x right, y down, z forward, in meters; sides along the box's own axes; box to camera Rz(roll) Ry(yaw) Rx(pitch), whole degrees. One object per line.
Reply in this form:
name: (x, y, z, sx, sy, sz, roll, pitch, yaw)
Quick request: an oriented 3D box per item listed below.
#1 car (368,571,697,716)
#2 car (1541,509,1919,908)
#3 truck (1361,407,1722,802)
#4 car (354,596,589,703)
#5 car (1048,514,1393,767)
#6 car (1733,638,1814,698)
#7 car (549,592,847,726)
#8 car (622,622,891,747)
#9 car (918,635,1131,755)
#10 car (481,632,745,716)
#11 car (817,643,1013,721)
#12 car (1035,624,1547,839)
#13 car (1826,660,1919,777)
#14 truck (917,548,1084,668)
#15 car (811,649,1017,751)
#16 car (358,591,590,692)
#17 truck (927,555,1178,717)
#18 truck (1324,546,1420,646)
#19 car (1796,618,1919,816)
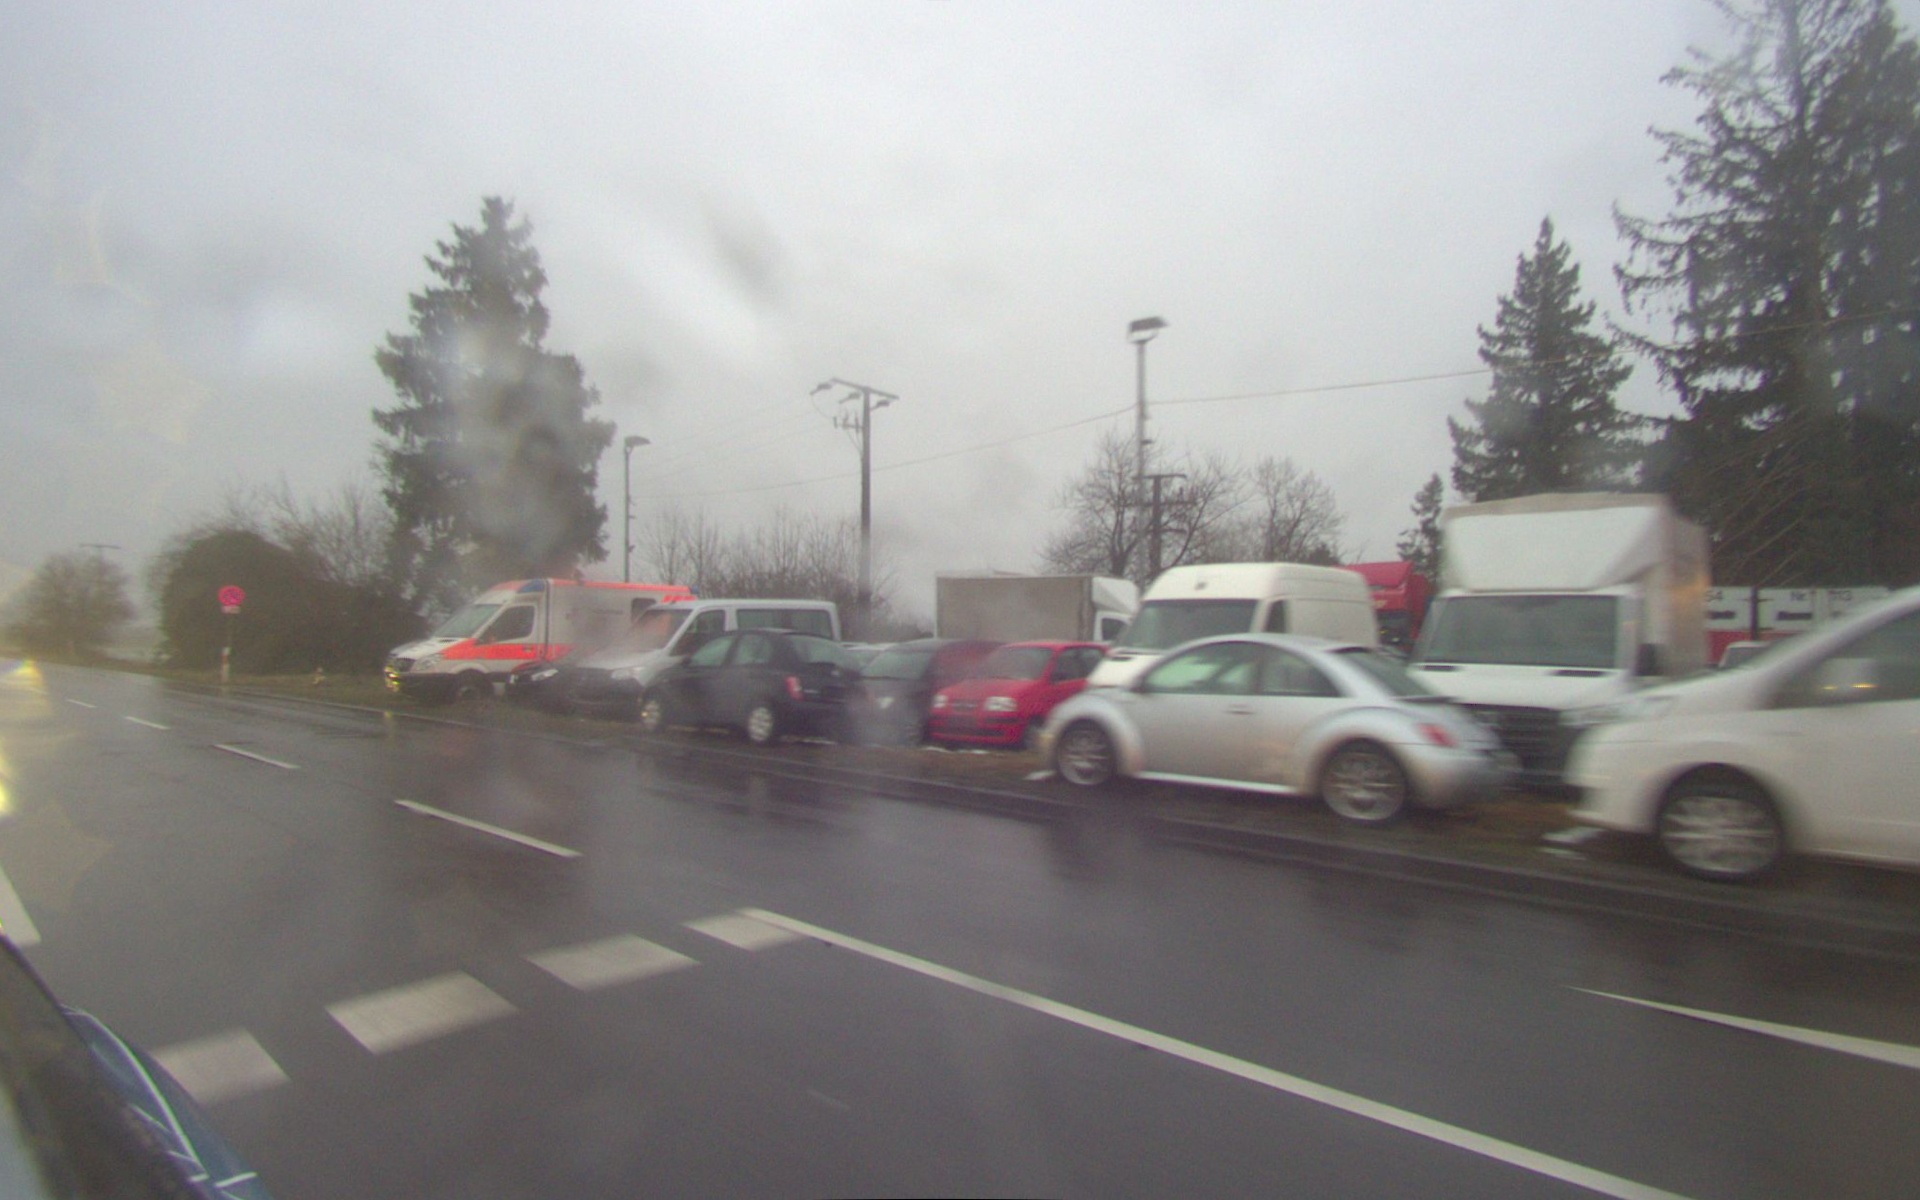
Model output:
car: (-8.869, 0.968, 21.614, 2.175, 2.652, 6.091, -2, -4, 41)
car: (5.888, 0.559, 5.440, 4.485, 2.029, 1.814, -1, -2, 44)
truck: (6.902, 0.132, 11.451, 2.332, 3.166, 6.788, -2, -3, 40)
car: (-11.560, 1.206, 24.219, 1.986, 2.290, 4.617, -2, -4, 41)
car: (3.779, 0.535, 13.659, 2.194, 2.659, 5.971, -2, -3, 39)
car: (18.333, 1.497, 22.862, 1.343, 1.227, 2.773, -1, -2, 38)
car: (-4.712, 1.110, 18.921, 2.058, 2.167, 5.091, -2, -4, 41)
car: (-2.791, 1.077, 13.478, 3.742, 1.431, 1.633, -4, -4, 43)
car: (1.001, 1.265, 14.448, 1.497, 1.503, 3.196, -2, -3, 38)
car: (-6.876, 1.467, 20.506, 1.954, 1.494, 4.698, -2, -4, 41)
car: (-0.813, 1.578, 20.264, 1.839, 1.394, 3.949, -3, -4, 37)
car: (2.641, 0.948, 8.660, 3.841, 1.423, 1.631, -2, -3, 44)
car: (12.966, 1.482, 12.524, 3.340, 1.379, 1.590, -2, -2, 40)
truck: (1.876, 0.299, 40.649, 2.996, 4.293, 8.623, -1, 0, 30)
car: (-0.632, 1.469, 15.818, 1.478, 1.338, 3.272, -1, -2, 37)
car: (-12.660, 1.135, 26.676, 2.079, 2.408, 5.051, -2, -4, 39)
truck: (2.119, 0.906, 24.348, 5.844, 3.481, 2.011, -2, -5, 38)
truck: (12.298, -0.063, 30.031, 2.223, 2.717, 4.681, -1, -1, 27)
car: (9.964, 1.063, 10.354, 2.022, 1.746, 4.010, -1, -2, 38)
